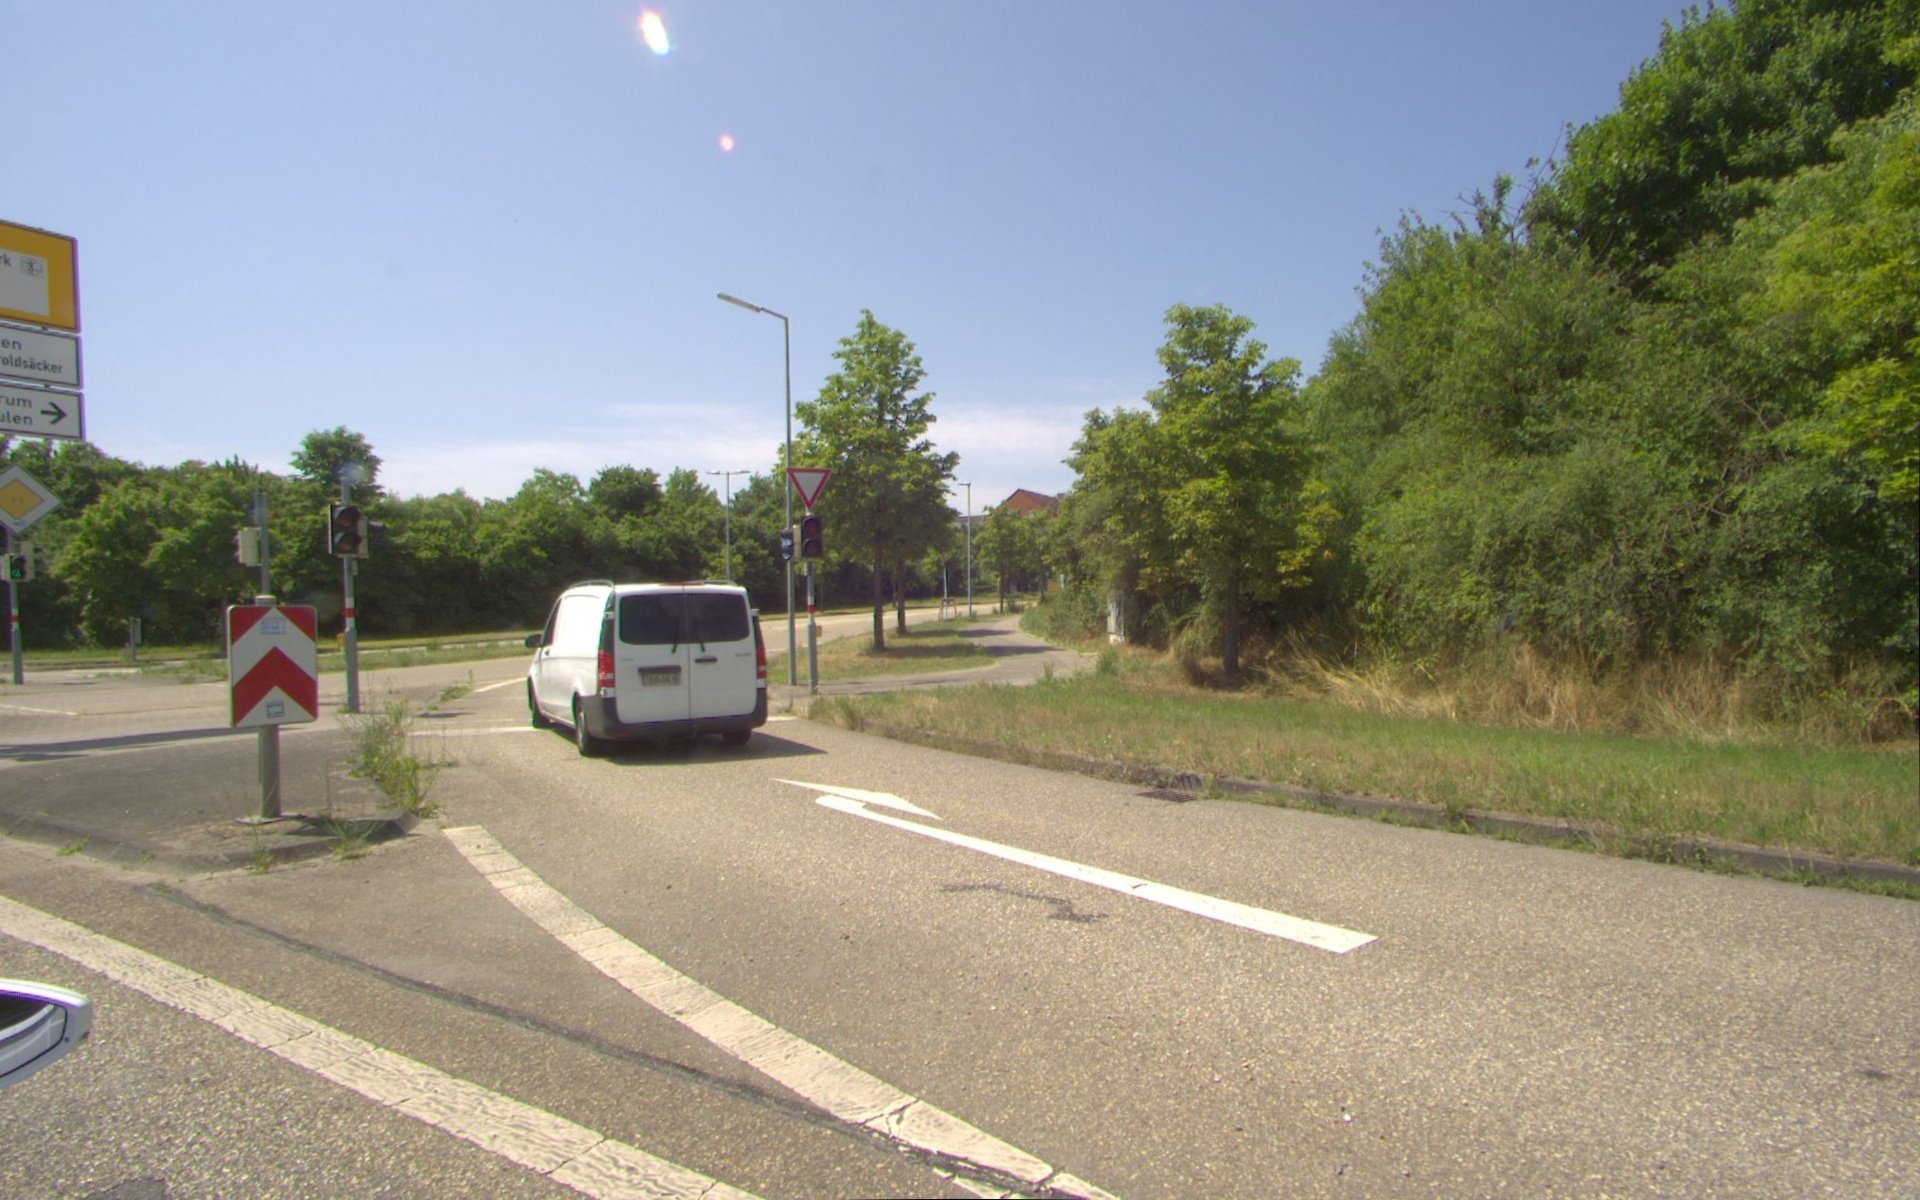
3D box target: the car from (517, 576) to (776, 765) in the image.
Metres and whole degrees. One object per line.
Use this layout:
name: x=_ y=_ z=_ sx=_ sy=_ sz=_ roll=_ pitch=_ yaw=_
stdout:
car: x=-4.055 y=0.717 z=12.311 sx=1.841 sy=1.842 sz=4.878 roll=0 pitch=0 yaw=-33
